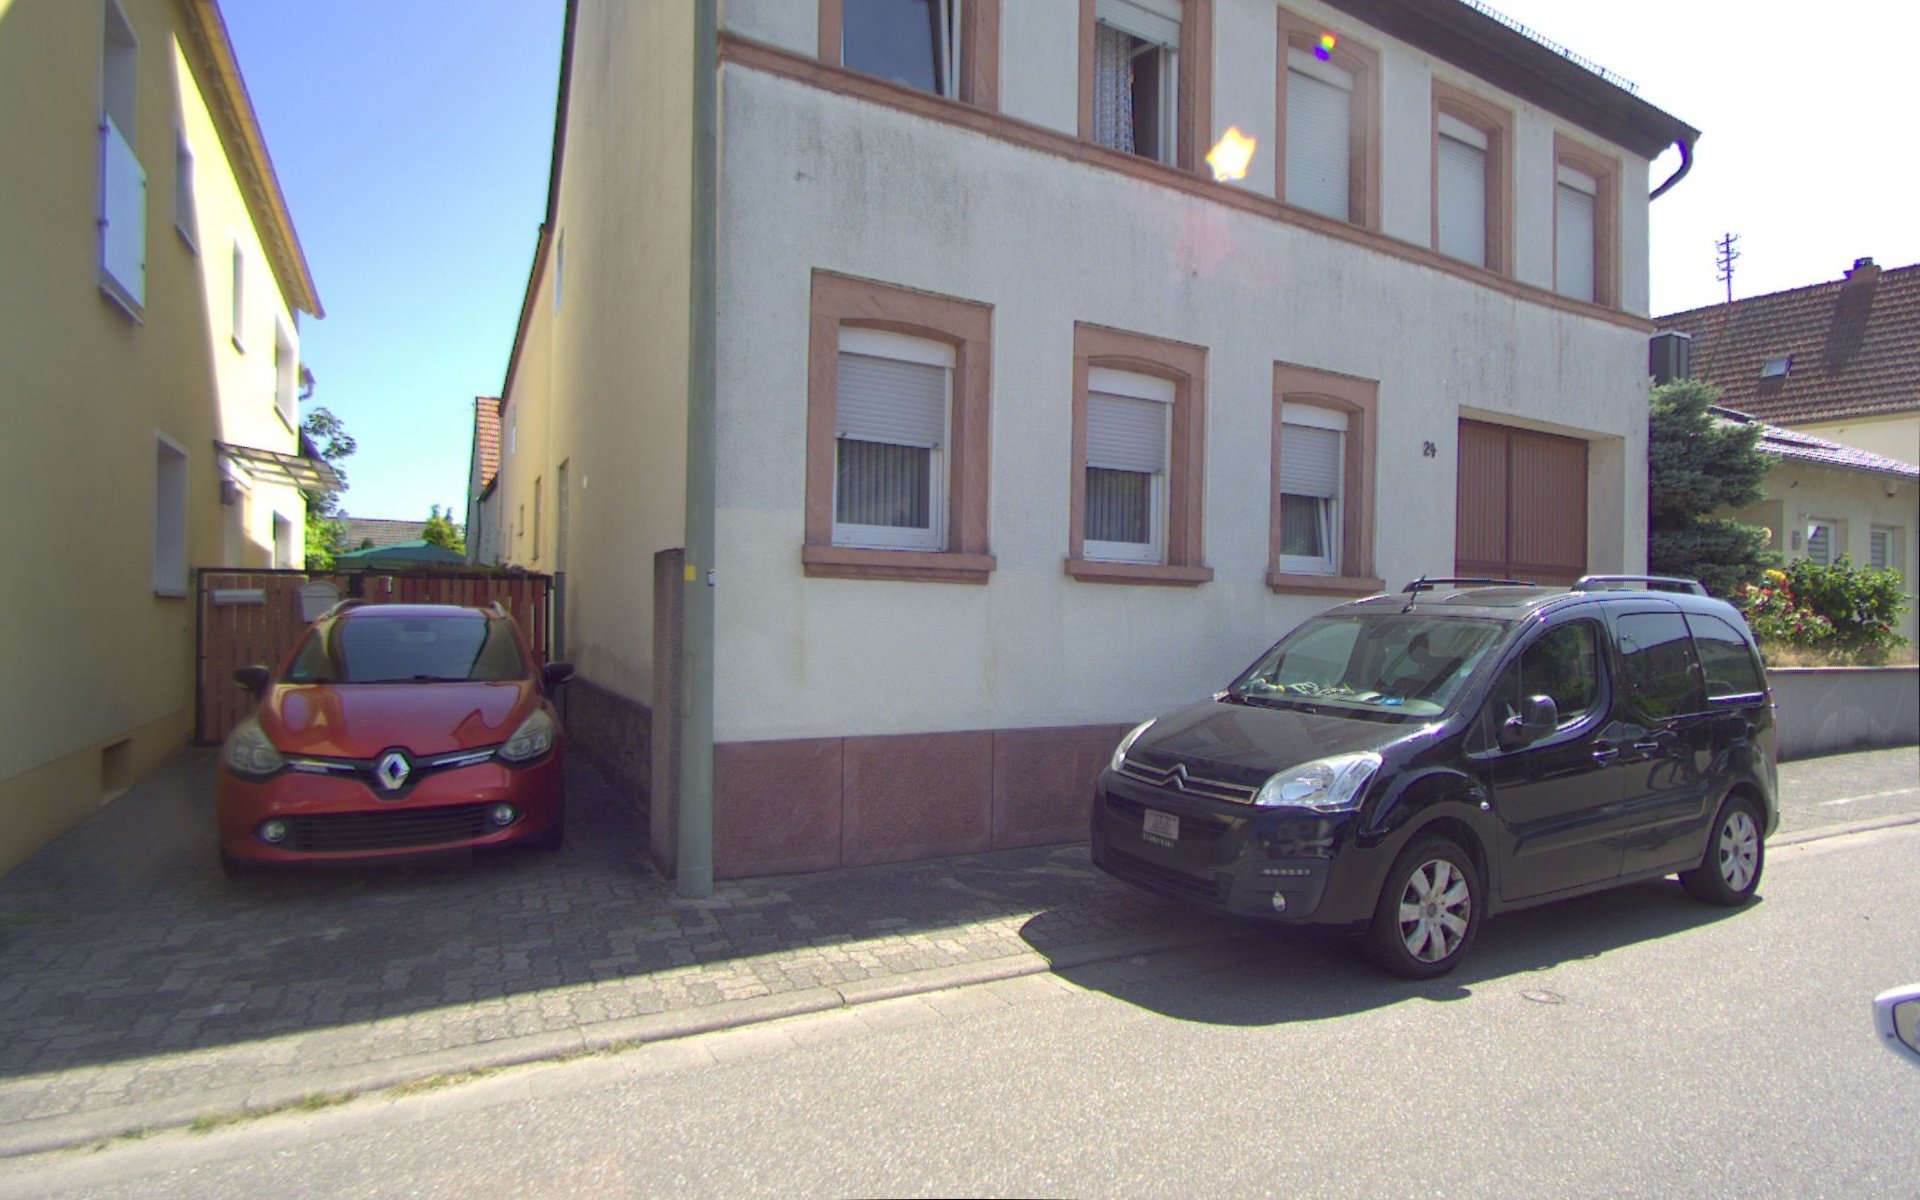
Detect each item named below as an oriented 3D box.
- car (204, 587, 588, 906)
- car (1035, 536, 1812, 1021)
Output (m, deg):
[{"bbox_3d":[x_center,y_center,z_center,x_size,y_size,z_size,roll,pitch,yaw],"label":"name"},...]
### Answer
[{"bbox_3d":[-3.549,0.709,6.716,1.652,1.477,3.735,1,-1,-25],"label":"car"},{"bbox_3d":[2.725,0.744,5.708,4.300,1.862,1.827,1,-1,-29],"label":"car"}]
